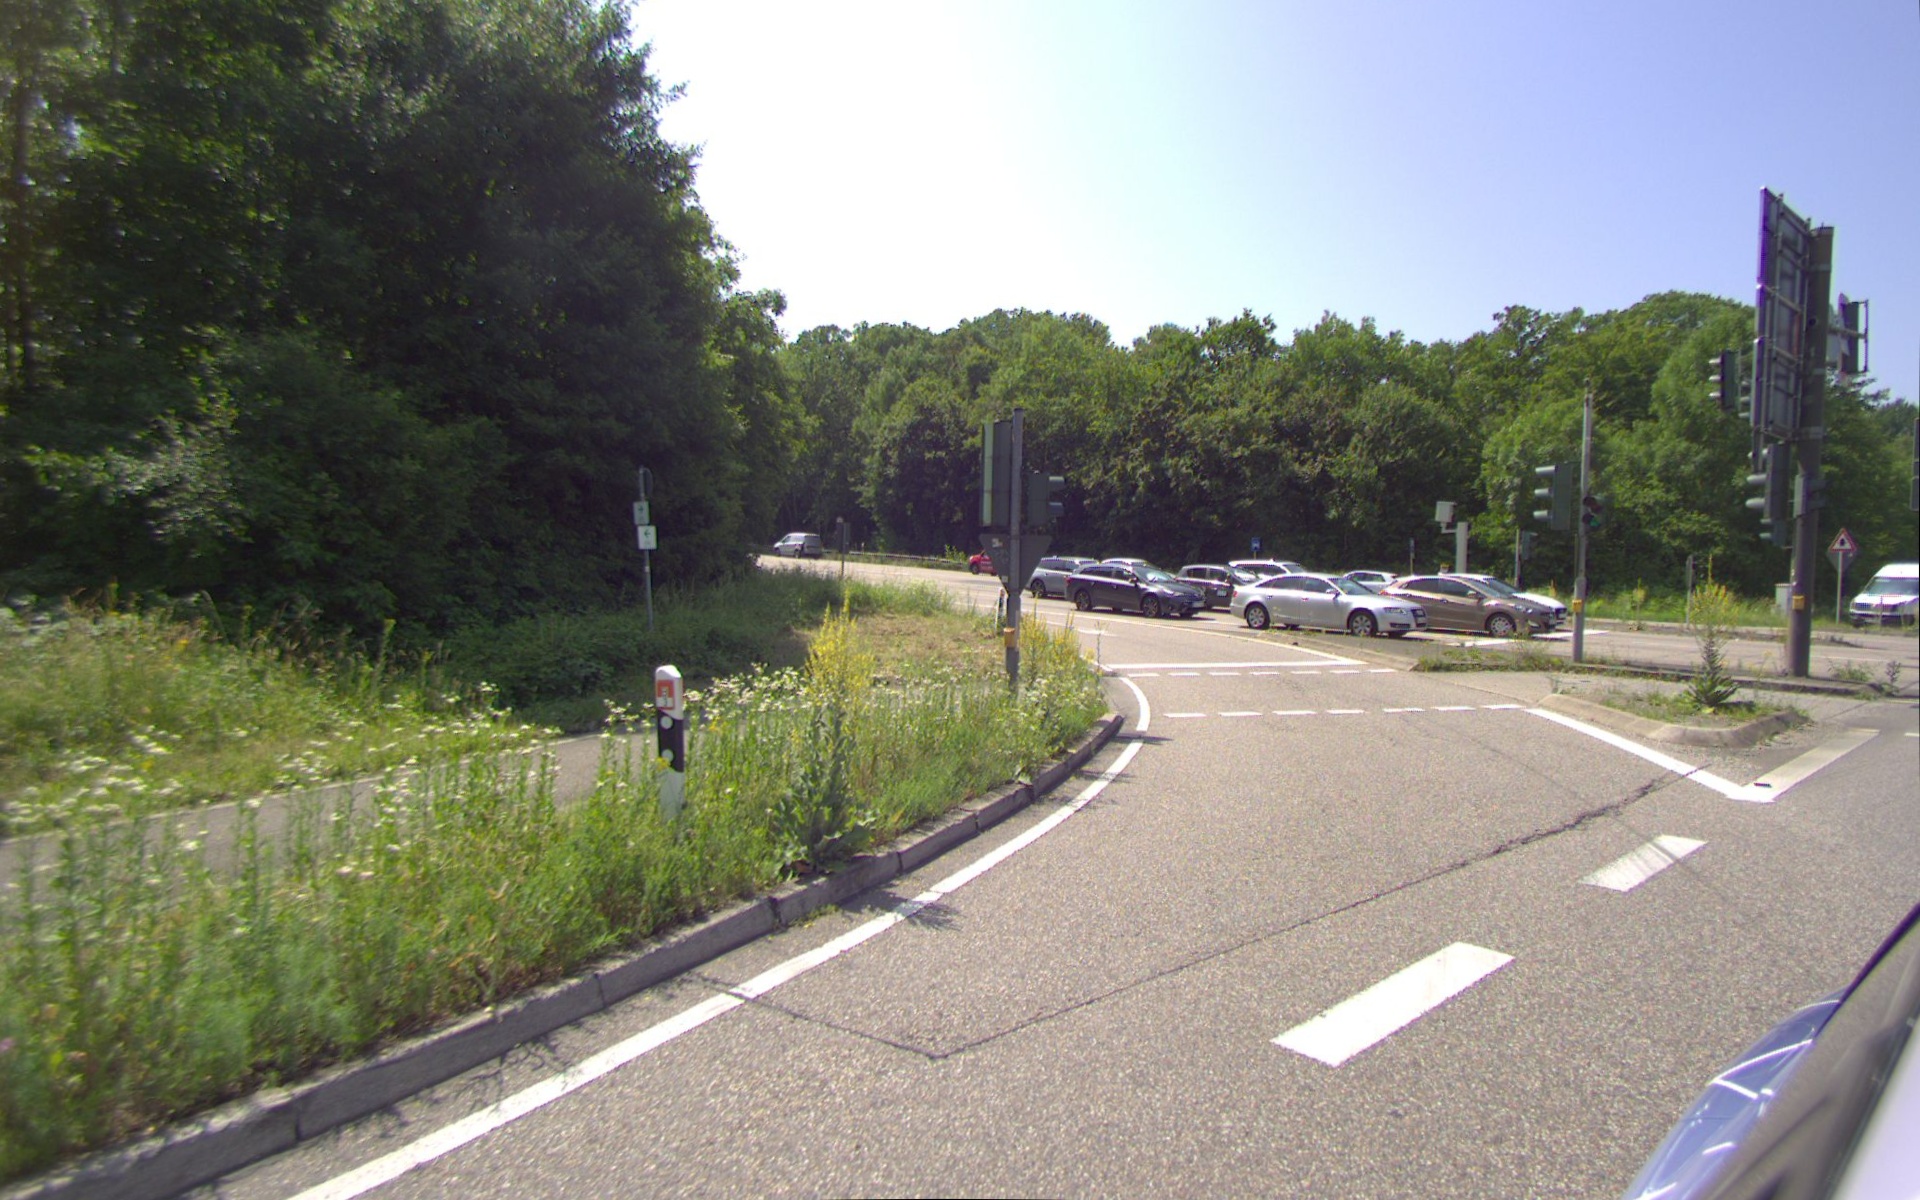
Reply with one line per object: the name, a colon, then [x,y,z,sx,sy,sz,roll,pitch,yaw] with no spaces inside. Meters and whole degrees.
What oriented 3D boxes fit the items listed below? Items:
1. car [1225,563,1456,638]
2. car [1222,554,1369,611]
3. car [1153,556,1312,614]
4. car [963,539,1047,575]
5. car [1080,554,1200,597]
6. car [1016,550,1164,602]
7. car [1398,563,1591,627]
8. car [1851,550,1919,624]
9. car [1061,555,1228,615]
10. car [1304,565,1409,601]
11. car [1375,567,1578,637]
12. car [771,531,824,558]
car: [9.132,-0.081,24.680,1.984,1.516,4.946,-1,4,-38]
car: [11.043,-0.621,33.530,1.964,1.679,4.183,0,3,-39]
car: [8.501,-0.531,31.885,2.085,1.554,4.431,-1,4,-39]
car: [2.453,-2.353,55.707,4.478,1.845,1.771,3,1,41]
car: [6.864,-0.986,38.932,1.938,1.431,4.344,-1,4,-38]
car: [4.507,-0.903,35.732,2.100,1.552,5.143,-1,4,-39]
car: [15.140,-0.196,28.871,1.965,1.554,4.429,0,3,-41]
car: [37.121,-0.467,38.642,5.932,2.678,1.980,1,1,-19]
car: [5.362,-0.497,29.978,2.074,1.516,4.629,-1,4,-39]
car: [16.728,-0.722,42.736,3.963,1.453,1.678,1,0,28]
car: [12.952,-0.012,25.554,1.961,1.464,4.100,0,3,-41]
car: [-11.590,-3.910,72.066,1.732,1.795,4.105,1,1,-42]
